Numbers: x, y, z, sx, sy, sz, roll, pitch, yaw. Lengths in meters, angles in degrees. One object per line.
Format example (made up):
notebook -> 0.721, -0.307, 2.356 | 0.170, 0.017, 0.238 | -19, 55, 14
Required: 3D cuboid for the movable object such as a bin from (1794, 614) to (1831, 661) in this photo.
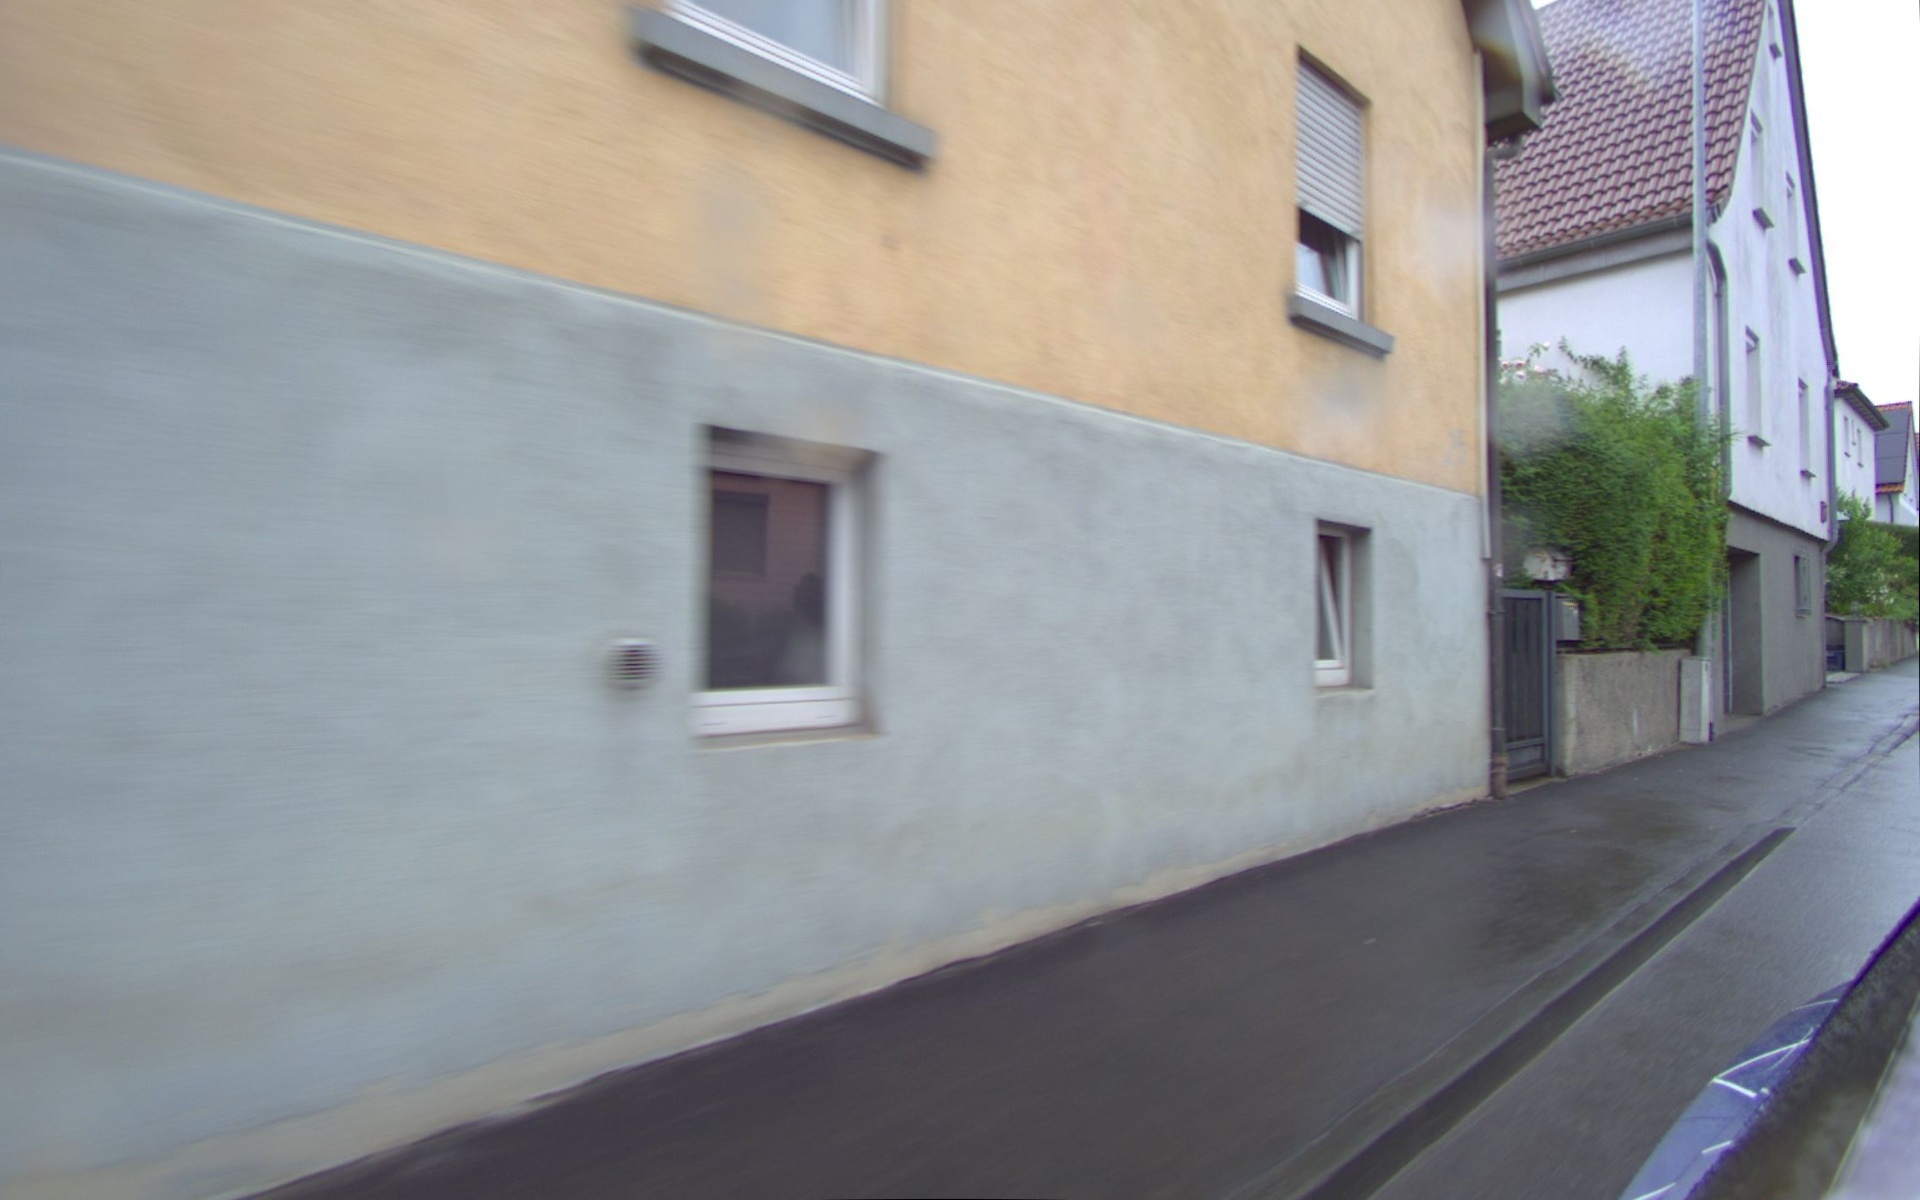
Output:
movable object such as a bin -> 16.965, 0.745, 20.140 | 0.468, 0.916, 0.494 | 1, -1, -41
